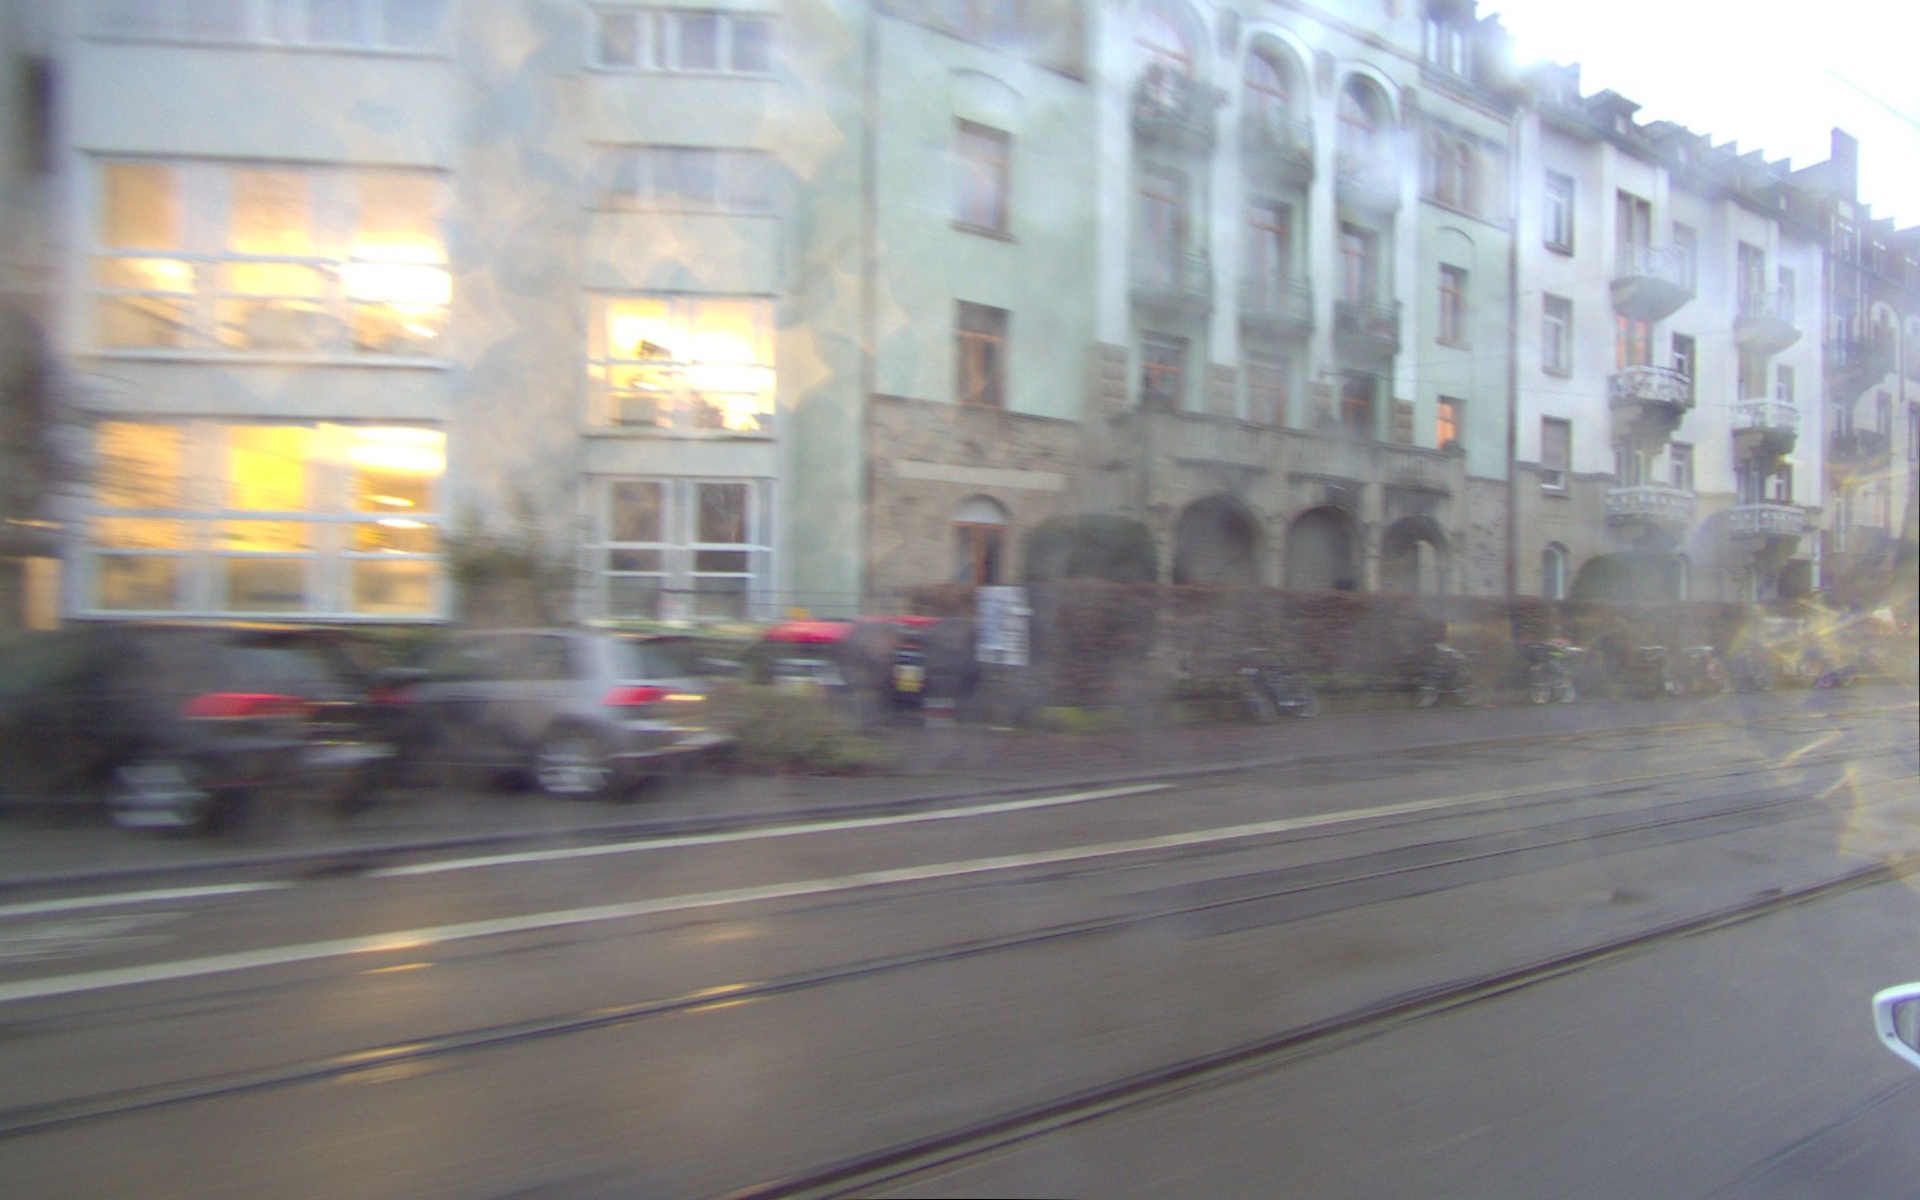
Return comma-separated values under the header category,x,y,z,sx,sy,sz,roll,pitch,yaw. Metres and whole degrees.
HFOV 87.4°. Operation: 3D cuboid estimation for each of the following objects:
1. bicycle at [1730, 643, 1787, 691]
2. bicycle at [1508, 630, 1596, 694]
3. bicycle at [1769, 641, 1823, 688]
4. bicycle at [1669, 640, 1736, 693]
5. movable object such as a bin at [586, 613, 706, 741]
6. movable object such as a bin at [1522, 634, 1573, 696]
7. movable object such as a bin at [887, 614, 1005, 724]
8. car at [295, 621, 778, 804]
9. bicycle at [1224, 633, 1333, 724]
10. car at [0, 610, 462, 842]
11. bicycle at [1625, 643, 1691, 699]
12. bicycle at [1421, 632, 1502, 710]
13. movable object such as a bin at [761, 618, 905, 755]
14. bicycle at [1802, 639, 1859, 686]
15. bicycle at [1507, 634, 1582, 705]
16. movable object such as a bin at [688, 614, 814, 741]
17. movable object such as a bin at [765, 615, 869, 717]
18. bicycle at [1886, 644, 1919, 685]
category,x,y,z,sx,sy,sz,roll,pitch,yaw
bicycle,18.000,1.510,22.637,1.583,1.044,0.686,3,-3,-39
bicycle,12.662,1.308,21.532,0.483,1.279,1.585,6,-4,-25
bicycle,19.712,1.509,23.672,1.583,1.044,0.686,2,-2,-39
bicycle,15.814,1.418,21.389,1.581,1.044,0.688,6,-4,-35
movable object such as a bin,-3.884,0.904,12.371,1.306,1.469,1.260,0,-1,-23
movable object such as a bin,11.468,1.253,19.613,0.738,1.152,0.687,1,-1,-44
movable object such as a bin,-0.219,0.938,14.292,1.306,1.469,1.260,0,-1,-23
car,-3.902,0.921,9.419,3.920,1.447,1.849,0,-1,18
bicycle,4.588,1.095,14.457,1.581,1.228,0.687,1,-1,-35
car,-6.243,0.836,7.905,3.919,1.490,1.833,0,-1,15
bicycle,14.187,1.443,20.407,1.582,1.044,0.686,6,-5,-39
bicycle,8.390,1.162,16.798,1.583,1.228,0.624,1,-1,-40
movable object such as a bin,-1.468,0.946,11.636,1.247,1.469,1.107,-1,-1,38
bicycle,21.334,1.519,24.607,1.909,1.114,0.484,1,-2,-32
bicycle,10.741,1.250,18.450,1.583,1.228,0.686,1,-1,-40
movable object such as a bin,-2.592,0.918,12.470,1.076,1.469,1.107,-1,-1,39
movable object such as a bin,-2.188,0.961,15.232,1.306,1.469,1.260,0,-1,-23
bicycle,25.686,1.720,27.057,1.785,1.031,0.622,1,-2,-32
